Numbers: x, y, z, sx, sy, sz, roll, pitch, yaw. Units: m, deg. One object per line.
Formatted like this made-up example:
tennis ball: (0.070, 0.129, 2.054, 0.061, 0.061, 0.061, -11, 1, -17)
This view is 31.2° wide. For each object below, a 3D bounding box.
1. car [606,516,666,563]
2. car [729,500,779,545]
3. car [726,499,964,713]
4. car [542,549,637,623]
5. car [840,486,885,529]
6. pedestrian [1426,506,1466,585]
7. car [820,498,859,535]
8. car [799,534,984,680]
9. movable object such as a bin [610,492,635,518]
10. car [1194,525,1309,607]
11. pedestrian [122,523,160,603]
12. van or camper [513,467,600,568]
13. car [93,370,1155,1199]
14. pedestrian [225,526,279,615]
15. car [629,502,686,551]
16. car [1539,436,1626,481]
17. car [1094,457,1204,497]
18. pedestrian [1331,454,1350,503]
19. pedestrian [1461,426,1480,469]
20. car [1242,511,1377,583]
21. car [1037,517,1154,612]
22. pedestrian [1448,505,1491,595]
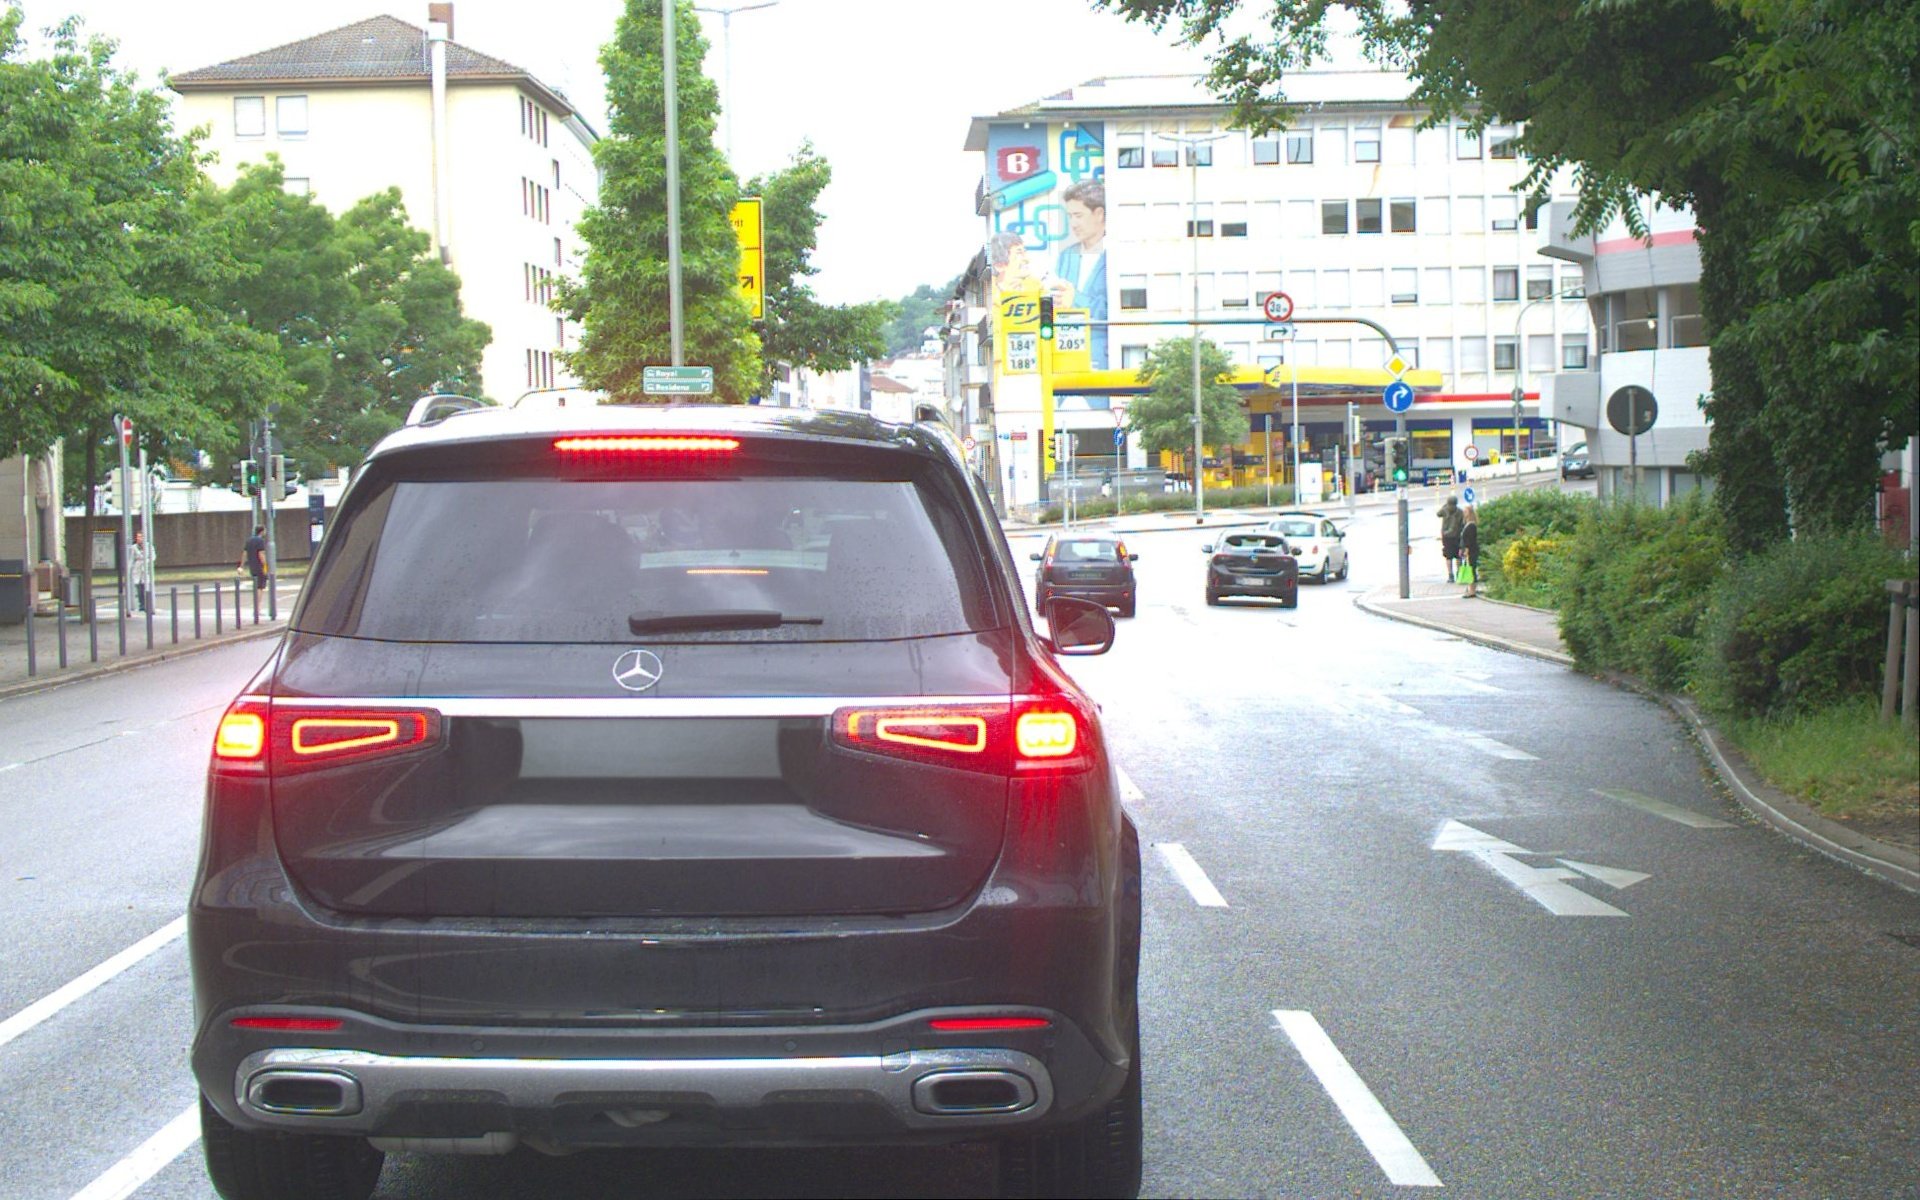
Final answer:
car: (-10.692, -1.983, 113.629, 1.797, 1.489, 3.804, 1, 1, -3)
car: (-8.145, -3.037, 135.705, 1.905, 1.697, 4.001, 1, 1, -3)
car: (-0.996, 0.031, 31.148, 1.993, 1.794, 4.000, 1, 1, -1)
car: (-7.965, -0.322, 74.243, 1.741, 1.465, 3.883, -3, 1, -3)
car: (-4.674, -4.440, 165.352, 1.993, 2.007, 4.000, 1, 1, 0)
pedestrian: (10.366, -1.161, 73.311, 0.717, 1.684, 0.456, 1, 0, -6)
car: (-6.740, -4.676, 192.371, 1.993, 2.007, 4.000, 1, 1, 0)
car: (-0.734, 0.054, 37.740, 1.907, 1.496, 4.000, 1, 1, -1)
movable object such as a bin: (-13.863, -3.906, 141.094, 0.910, 1.034, 0.844, 1, 0, 1)
car: (5.534, -0.647, 65.711, 1.946, 1.481, 4.000, 1, 1, 2)
pedestrian: (-17.284, -0.783, 72.589, 0.642, 1.660, 1.019, 1, 0, -6)
van or camper: (-10.923, -2.222, 93.361, 2.101, 2.573, 5.909, -3, 1, -5)
car: (-0.661, 0.454, 8.525, 1.993, 1.794, 4.000, 1, 1, -1)
pedestrian: (-13.783, -0.572, 66.888, 0.946, 1.699, 0.713, 1, 0, -17)
car: (-10.845, -2.626, 123.298, 1.905, 1.697, 4.001, 1, 1, -3)
car: (25.050, -5.685, 138.306, 1.997, 1.700, 3.993, 0, 2, 33)
car: (7.054, -4.606, 128.541, 1.732, 1.371, 3.998, -4, 3, -44)
pedestrian: (13.300, -4.258, 120.288, 0.572, 1.691, 0.631, 1, 0, 1)
pedestrian: (20.278, -6.061, 136.590, 0.526, 1.721, 0.688, 0, 2, 26)
car: (7.881, -1.178, 77.201, 1.756, 1.543, 3.994, 1, 1, 25)
car: (2.307, -0.638, 59.405, 1.796, 1.520, 4.056, 1, 2, -1)
pedestrian: (9.695, -0.947, 65.384, 0.646, 1.704, 0.470, 1, 0, 36)
